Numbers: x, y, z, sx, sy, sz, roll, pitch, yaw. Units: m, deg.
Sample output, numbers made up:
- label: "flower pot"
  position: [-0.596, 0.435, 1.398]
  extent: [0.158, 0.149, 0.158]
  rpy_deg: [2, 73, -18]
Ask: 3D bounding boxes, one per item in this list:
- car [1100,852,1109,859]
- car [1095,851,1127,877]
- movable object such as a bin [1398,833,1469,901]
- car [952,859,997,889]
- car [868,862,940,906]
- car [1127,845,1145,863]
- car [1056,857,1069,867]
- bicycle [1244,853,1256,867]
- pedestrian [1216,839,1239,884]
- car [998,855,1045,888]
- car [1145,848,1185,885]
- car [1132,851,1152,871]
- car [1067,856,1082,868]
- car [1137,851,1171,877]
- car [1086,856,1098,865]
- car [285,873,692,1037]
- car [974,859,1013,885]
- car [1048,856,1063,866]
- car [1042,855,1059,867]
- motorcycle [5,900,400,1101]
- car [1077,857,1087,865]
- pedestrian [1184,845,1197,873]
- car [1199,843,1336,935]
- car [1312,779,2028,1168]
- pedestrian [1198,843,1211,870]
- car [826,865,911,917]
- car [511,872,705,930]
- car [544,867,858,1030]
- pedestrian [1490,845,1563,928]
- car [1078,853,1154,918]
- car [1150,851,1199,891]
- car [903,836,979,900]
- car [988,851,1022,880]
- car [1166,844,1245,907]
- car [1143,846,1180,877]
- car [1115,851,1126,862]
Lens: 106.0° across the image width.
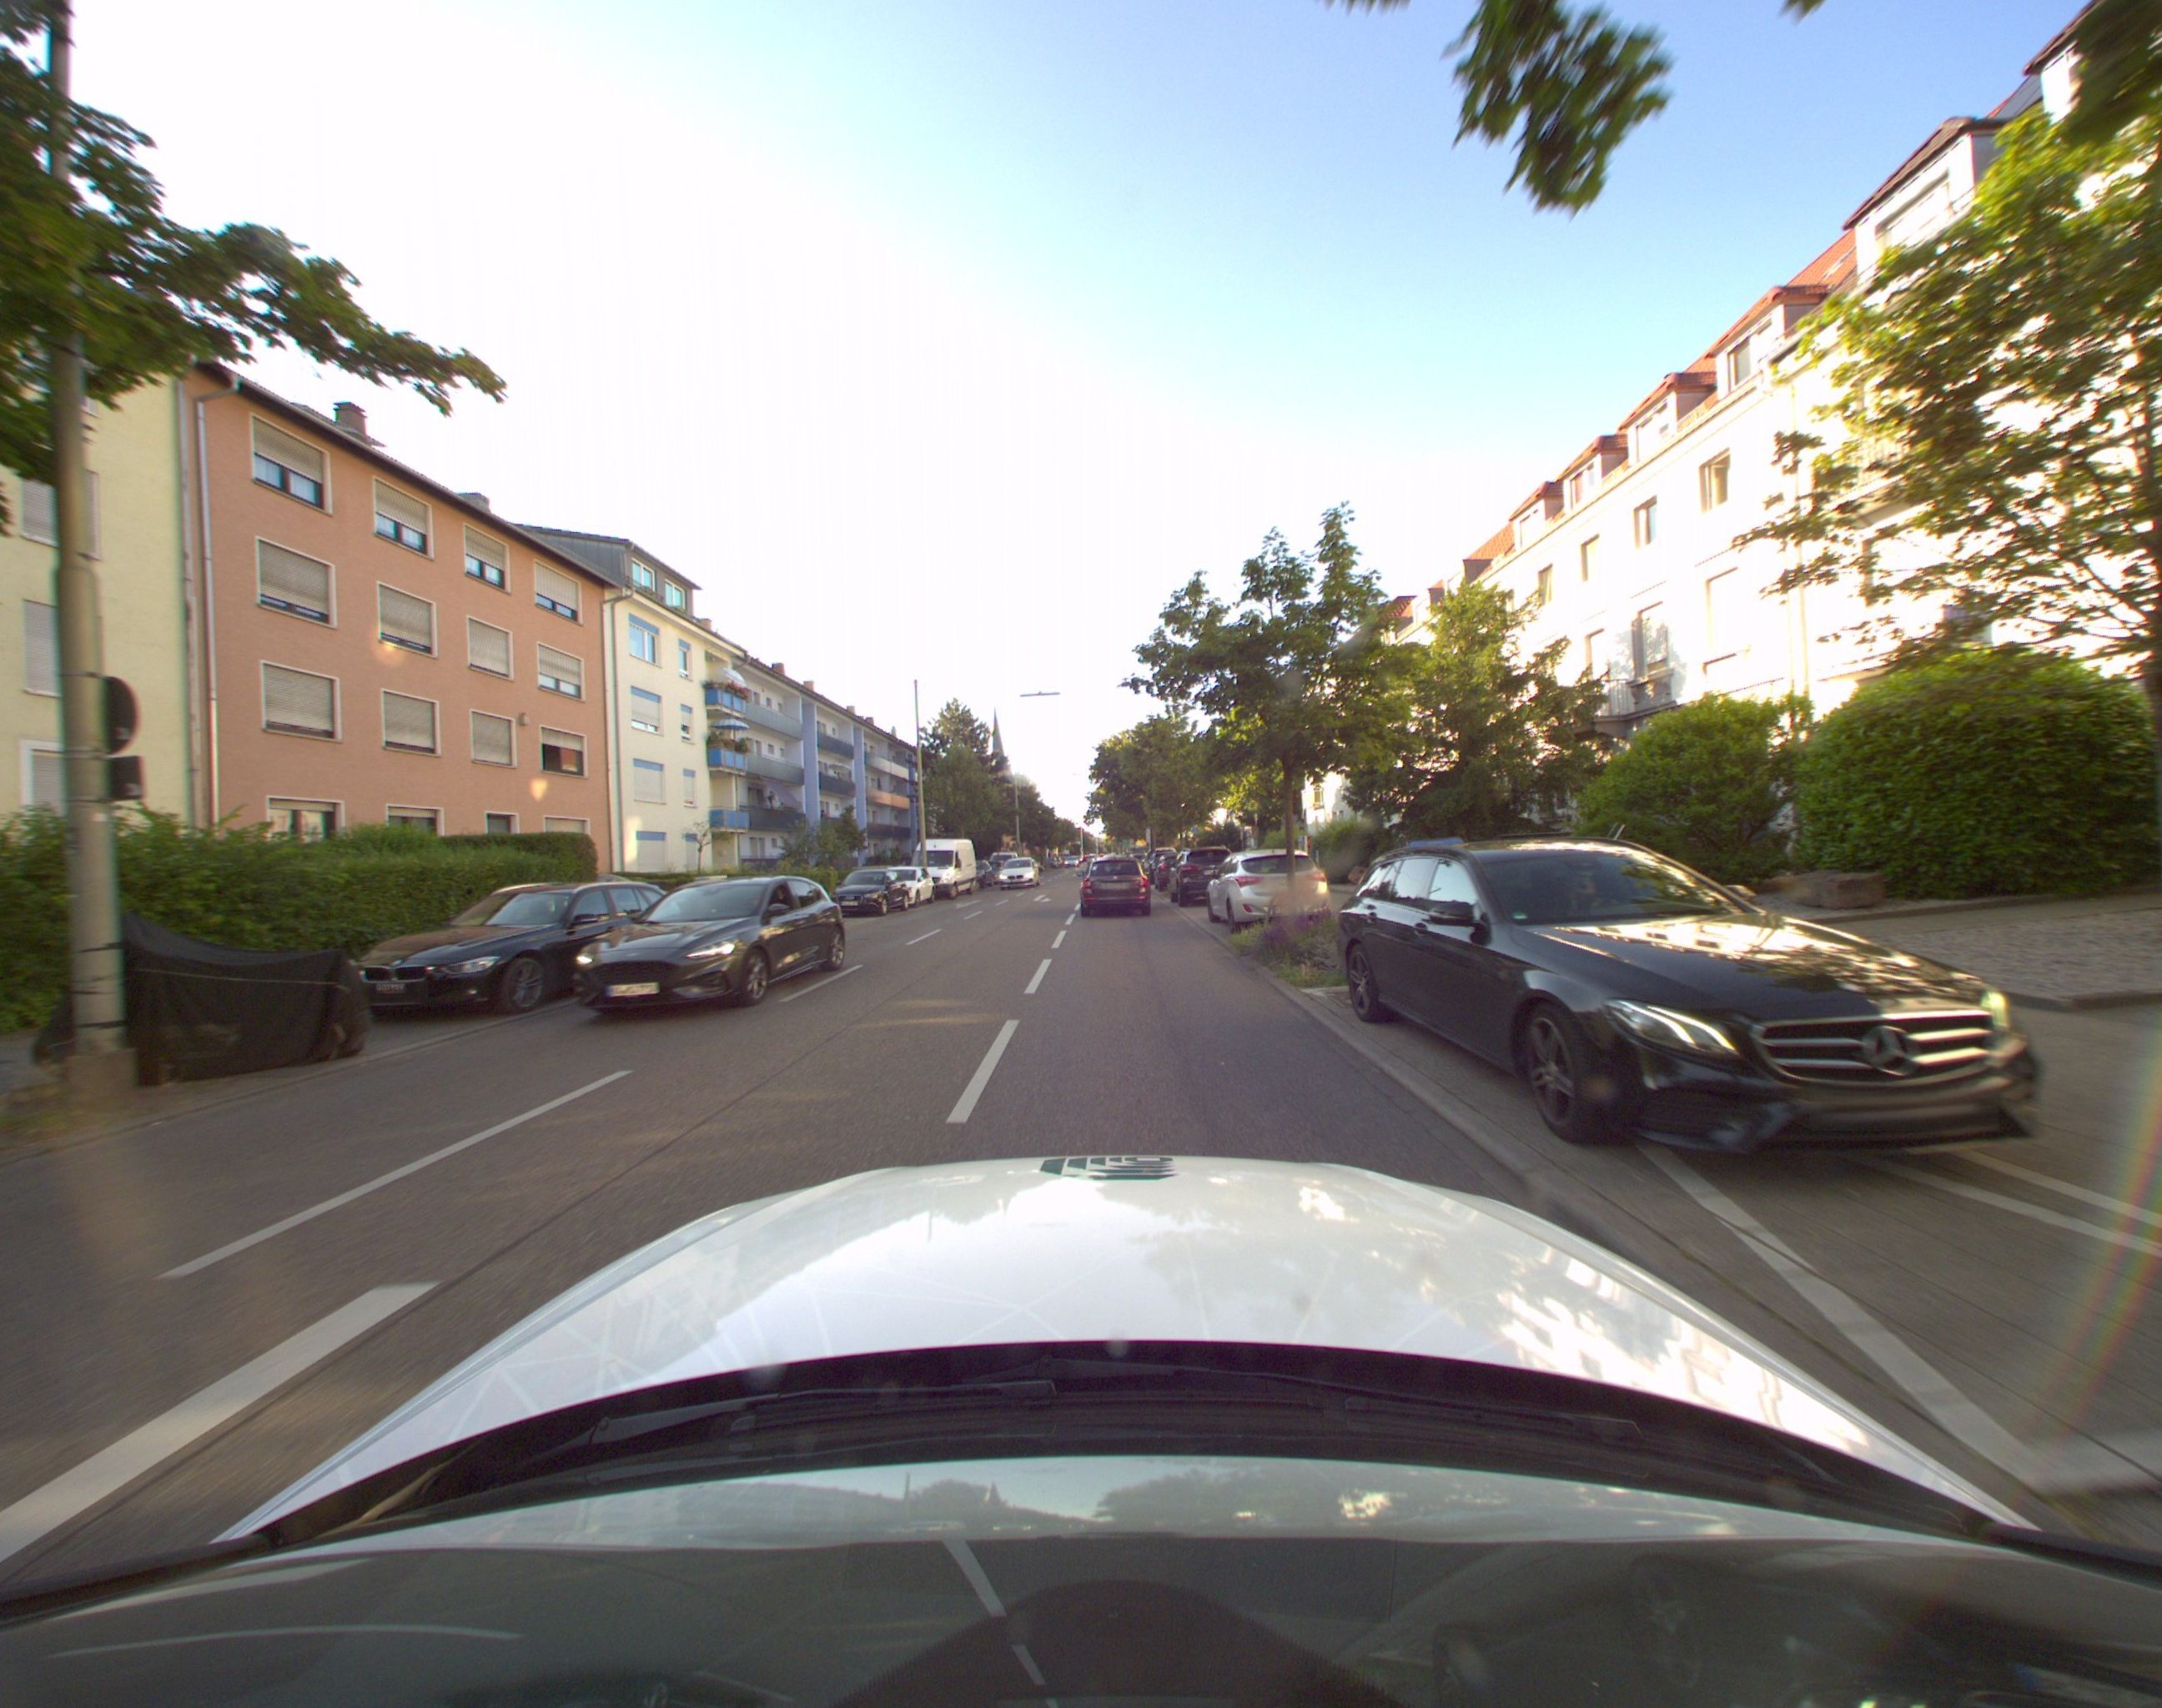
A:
- label: "car"
  position: [5.239, 0.329, 183.783]
  extent: [1.641, 1.599, 3.645]
  rpy_deg: [-2, 0, -3]
- label: "car"
  position: [1.847, 0.659, 50.693]
  extent: [1.885, 1.506, 3.790]
  rpy_deg: [1, -1, 1]
- label: "movable object such as a bin"
  position: [8.438, 0.300, 19.577]
  extent: [1.259, 1.492, 1.143]
  rpy_deg: [-5, -1, 11]
- label: "car"
  position: [-5.977, 1.096, 46.360]
  extent: [1.665, 1.543, 4.477]
  rpy_deg: [-2, 0, 3]
- label: "car"
  position: [-6.566, 1.063, 30.607]
  extent: [1.700, 1.492, 4.060]
  rpy_deg: [0, 0, 2]
- label: "car"
  position: [6.049, 0.009, 89.472]
  extent: [1.908, 1.860, 5.638]
  rpy_deg: [-2, 0, 3]
- label: "car"
  position: [-3.030, 1.265, 132.177]
  extent: [1.773, 1.480, 3.975]
  rpy_deg: [-1, 0, 4]
- label: "bicycle"
  position: [11.715, 0.427, 56.426]
  extent: [0.473, 0.944, 1.680]
  rpy_deg: [-3, 0, 1]
- label: "pedestrian"
  position: [5.628, 0.293, 31.261]
  extent: [0.784, 1.700, 0.809]
  rpy_deg: [-2, -1, 6]
- label: "car"
  position: [-3.048, 0.861, 42.588]
  extent: [1.871, 1.543, 4.271]
  rpy_deg: [-2, 0, 3]
- label: "car"
  position: [4.156, 0.588, 40.936]
  extent: [1.747, 1.662, 4.256]
  rpy_deg: [-3, 0, 3]
- label: "car"
  position: [5.458, 0.635, 72.989]
  extent: [1.747, 1.686, 4.256]
  rpy_deg: [-1, 0, 3]
- label: "car"
  position: [-0.880, 1.069, 108.561]
  extent: [1.774, 1.494, 3.973]
  rpy_deg: [0, 0, 2]
- label: "car"
  position: [4.881, 0.632, 54.870]
  extent: [1.749, 1.556, 4.251]
  rpy_deg: [-4, 0, -1]
- label: "car"
  position: [1.793, 0.995, 132.059]
  extent: [1.776, 1.480, 3.968]
  rpy_deg: [-1, 0, -1]
- label: "car"
  position: [-7.085, 1.073, 10.523]
  extent: [1.772, 1.505, 4.590]
  rpy_deg: [-2, 0, 2]
- label: "car"
  position: [-5.475, 1.103, 51.588]
  extent: [1.685, 1.483, 4.148]
  rpy_deg: [-2, 0, 4]
- label: "car"
  position: [-3.589, 0.966, 116.011]
  extent: [1.773, 1.480, 3.975]
  rpy_deg: [-1, 0, 4]
- label: "car"
  position: [-3.858, 0.865, 103.492]
  extent: [1.773, 1.480, 4.037]
  rpy_deg: [-1, 0, 4]
- label: "motorcycle"
  position: [-7.175, 1.115, 6.867]
  extent: [2.034, 1.389, 0.981]
  rpy_deg: [0, -2, -30]
- label: "car"
  position: [0.218, 1.508, 186.031]
  extent: [1.989, 1.750, 3.995]
  rpy_deg: [-2, 0, -4]
- label: "pedestrian"
  position: [7.638, 0.348, 56.881]
  extent: [0.746, 1.861, 1.068]
  rpy_deg: [-3, 0, 1]
- label: "car"
  position: [3.487, 0.593, 16.053]
  extent: [1.712, 1.494, 4.394]
  rpy_deg: [-2, 0, 1]
- label: "car"
  position: [3.209, 0.527, 5.932]
  extent: [1.866, 1.581, 4.824]
  rpy_deg: [-3, 0, 3]
- label: "pedestrian"
  position: [8.550, 0.177, 56.344]
  extent: [0.793, 1.861, 0.954]
  rpy_deg: [-3, -1, 12]
- label: "car"
  position: [-6.607, 1.103, 25.747]
  extent: [1.606, 1.473, 3.814]
  rpy_deg: [0, 0, 1]
- label: "car"
  position: [-12.310, 1.203, 21.383]
  extent: [3.972, 1.413, 1.917]
  rpy_deg: [0, 0, 2]
- label: "car"
  position: [-4.392, 0.981, 10.276]
  extent: [1.693, 1.470, 4.297]
  rpy_deg: [-3, 0, 3]
- label: "pedestrian"
  position: [6.889, 0.493, 12.628]
  extent: [0.670, 1.235, 0.791]
  rpy_deg: [-2, -1, 2]
- label: "car"
  position: [0.944, 0.739, 21.060]
  extent: [1.747, 1.492, 4.004]
  rpy_deg: [-1, 0, 3]
- label: "car"
  position: [3.800, 0.668, 33.665]
  extent: [1.607, 1.466, 3.960]
  rpy_deg: [-3, 0, 1]
- label: "car"
  position: [-6.176, 0.586, 36.908]
  extent: [1.986, 2.616, 7.107]
  rpy_deg: [-1, 0, 1]
- label: "car"
  position: [-5.558, 0.825, 60.061]
  extent: [1.862, 2.031, 5.302]
  rpy_deg: [-1, 0, 1]
- label: "car"
  position: [3.542, 0.575, 23.780]
  extent: [1.712, 1.601, 4.097]
  rpy_deg: [-2, 0, 1]
- label: "car"
  position: [4.881, 0.448, 50.111]
  extent: [1.794, 1.808, 4.423]
  rpy_deg: [-1, 0, 0]
- label: "car"
  position: [6.708, 0.409, 137.530]
  extent: [1.747, 1.806, 4.002]
  rpy_deg: [-1, 0, 2]
